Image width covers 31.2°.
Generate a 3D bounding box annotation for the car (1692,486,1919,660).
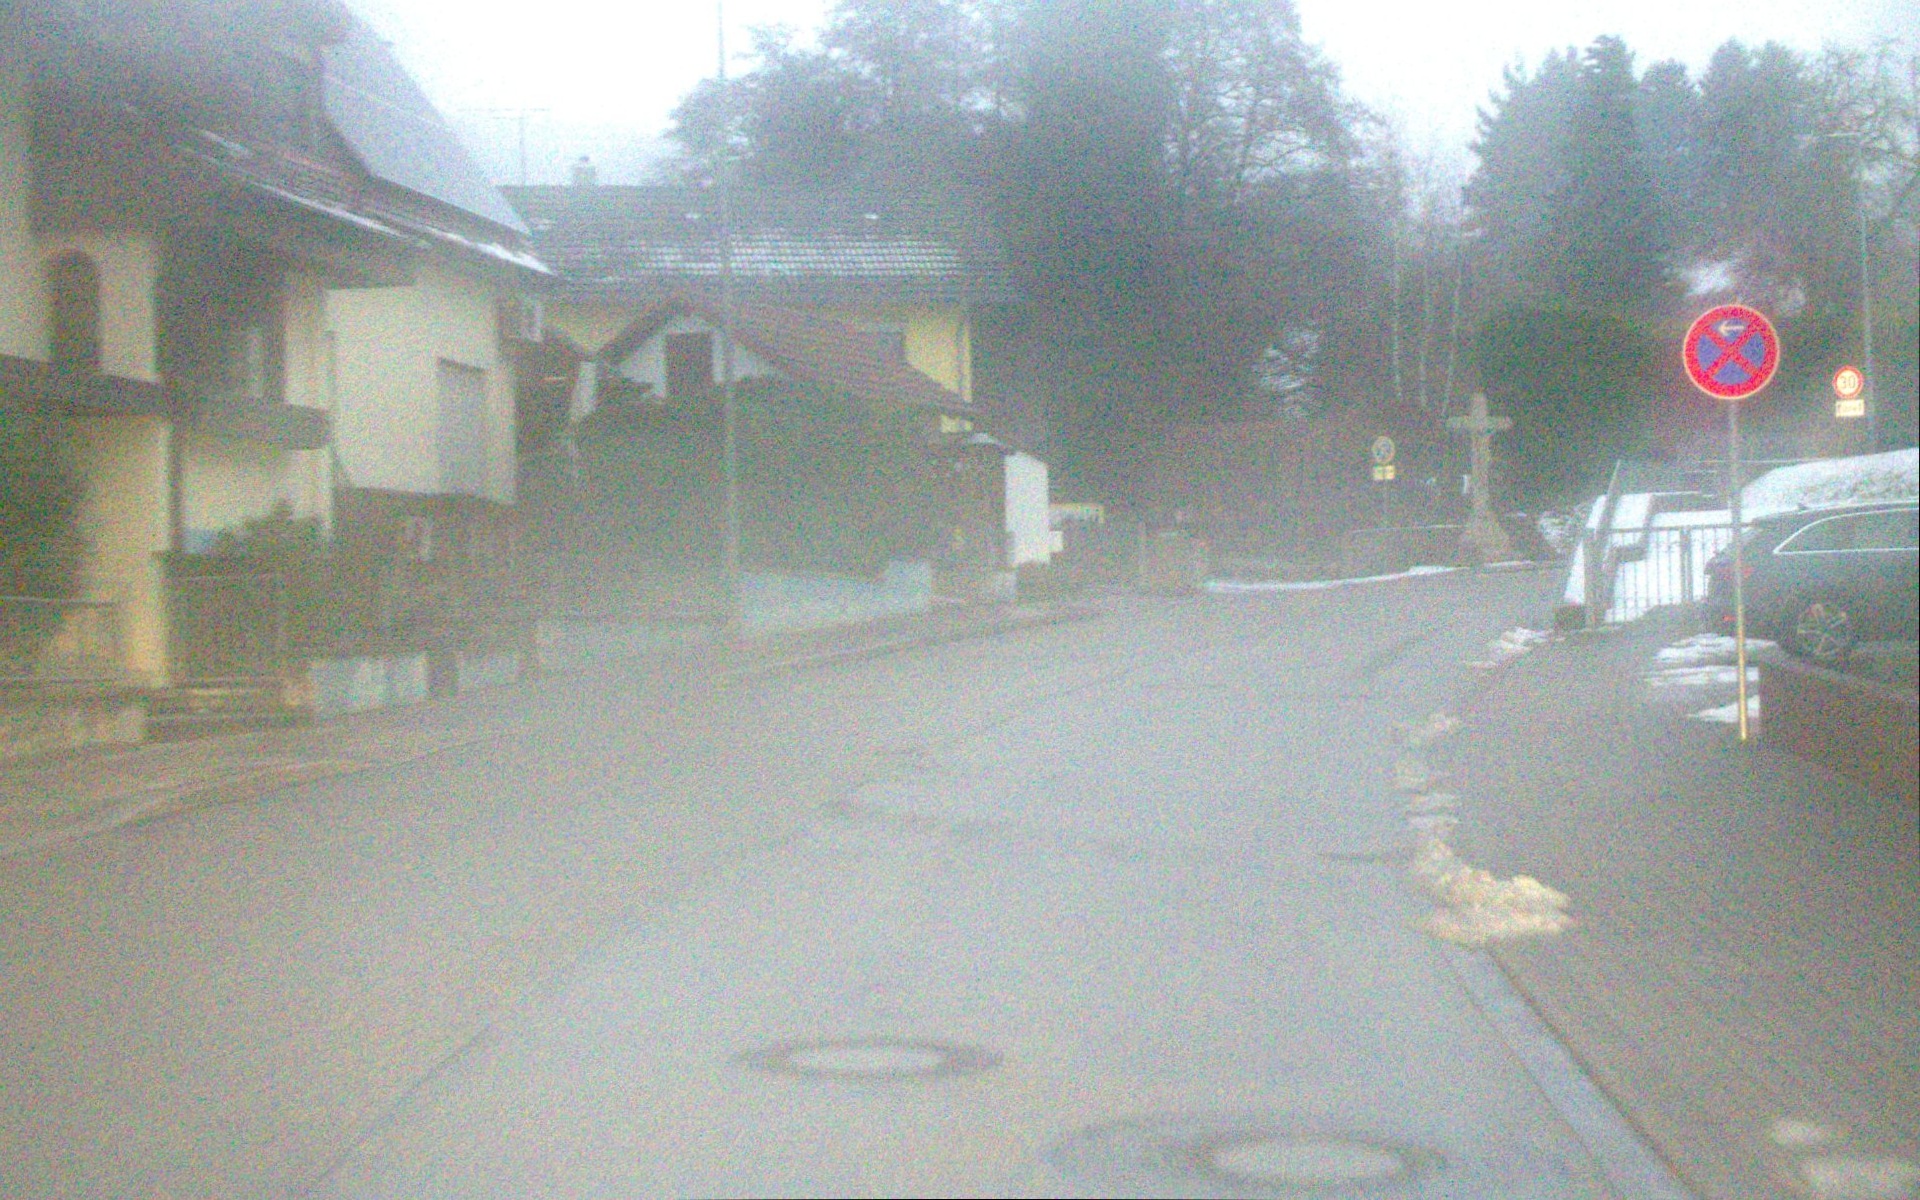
[{"bbox_3d":[9.080,-0.327,31.408,4.506,1.438,1.999,-3,1,9],"label":"car"}]
